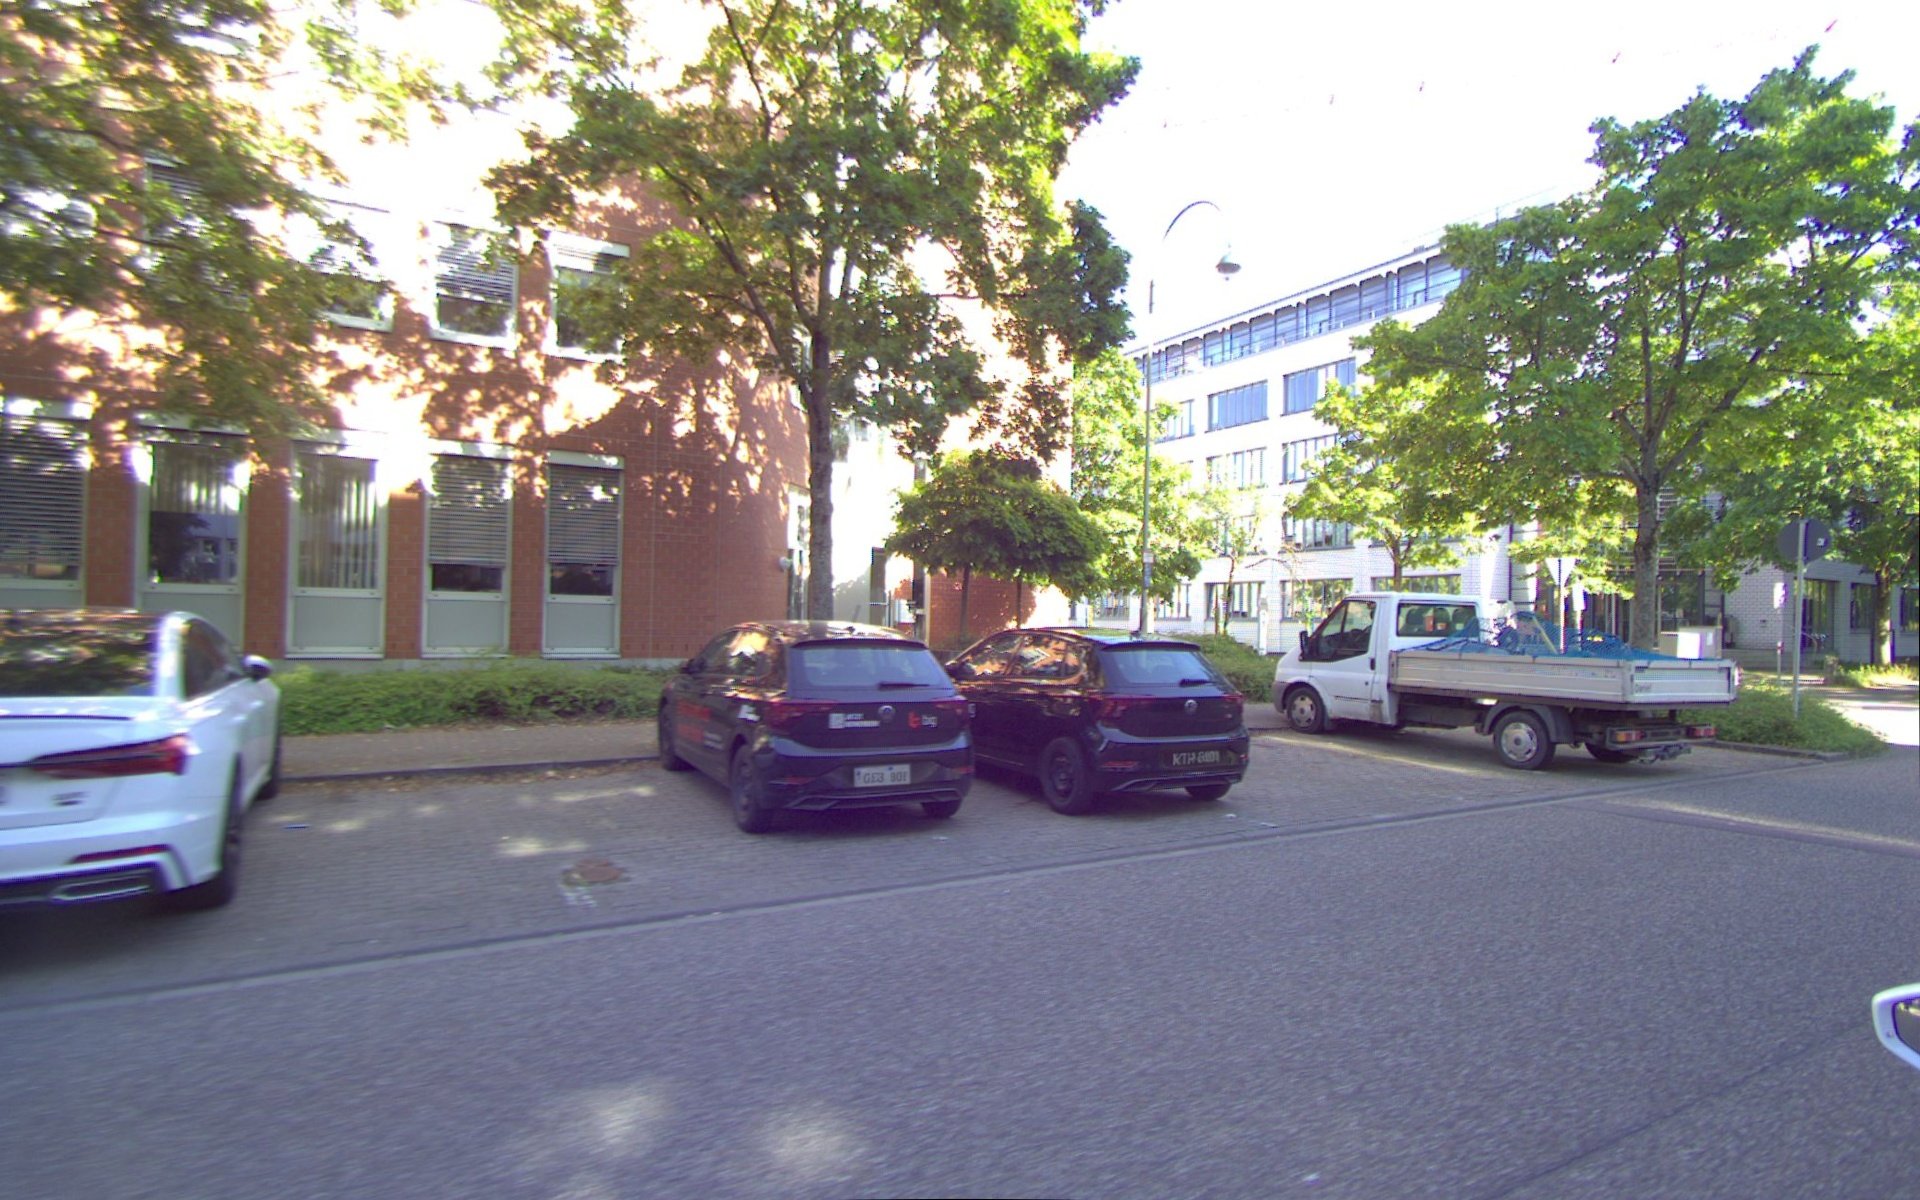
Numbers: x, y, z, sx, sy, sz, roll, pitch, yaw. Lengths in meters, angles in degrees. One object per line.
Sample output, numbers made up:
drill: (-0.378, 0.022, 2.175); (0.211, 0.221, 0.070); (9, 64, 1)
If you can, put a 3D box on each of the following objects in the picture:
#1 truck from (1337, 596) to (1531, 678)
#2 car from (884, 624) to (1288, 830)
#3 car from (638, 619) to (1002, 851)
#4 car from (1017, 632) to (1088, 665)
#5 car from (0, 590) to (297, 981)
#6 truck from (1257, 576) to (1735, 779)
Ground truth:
truck: (17.175, 1.328, 36.817); (2.549, 2.740, 6.072); (2, -2, -32)
car: (0.932, 0.989, 9.491); (1.768, 1.454, 3.969); (2, -1, -30)
car: (-1.413, 0.891, 8.465); (1.701, 1.454, 3.969); (1, -1, -30)
car: (5.001, 2.613, 54.748); (1.986, 1.700, 3.969); (2, -2, -29)
car: (-4.999, 0.702, 5.702); (1.869, 1.461, 4.517); (1, 1, -31)
truck: (6.301, 0.827, 12.550); (2.112, 1.985, 4.965); (2, -2, -28)
